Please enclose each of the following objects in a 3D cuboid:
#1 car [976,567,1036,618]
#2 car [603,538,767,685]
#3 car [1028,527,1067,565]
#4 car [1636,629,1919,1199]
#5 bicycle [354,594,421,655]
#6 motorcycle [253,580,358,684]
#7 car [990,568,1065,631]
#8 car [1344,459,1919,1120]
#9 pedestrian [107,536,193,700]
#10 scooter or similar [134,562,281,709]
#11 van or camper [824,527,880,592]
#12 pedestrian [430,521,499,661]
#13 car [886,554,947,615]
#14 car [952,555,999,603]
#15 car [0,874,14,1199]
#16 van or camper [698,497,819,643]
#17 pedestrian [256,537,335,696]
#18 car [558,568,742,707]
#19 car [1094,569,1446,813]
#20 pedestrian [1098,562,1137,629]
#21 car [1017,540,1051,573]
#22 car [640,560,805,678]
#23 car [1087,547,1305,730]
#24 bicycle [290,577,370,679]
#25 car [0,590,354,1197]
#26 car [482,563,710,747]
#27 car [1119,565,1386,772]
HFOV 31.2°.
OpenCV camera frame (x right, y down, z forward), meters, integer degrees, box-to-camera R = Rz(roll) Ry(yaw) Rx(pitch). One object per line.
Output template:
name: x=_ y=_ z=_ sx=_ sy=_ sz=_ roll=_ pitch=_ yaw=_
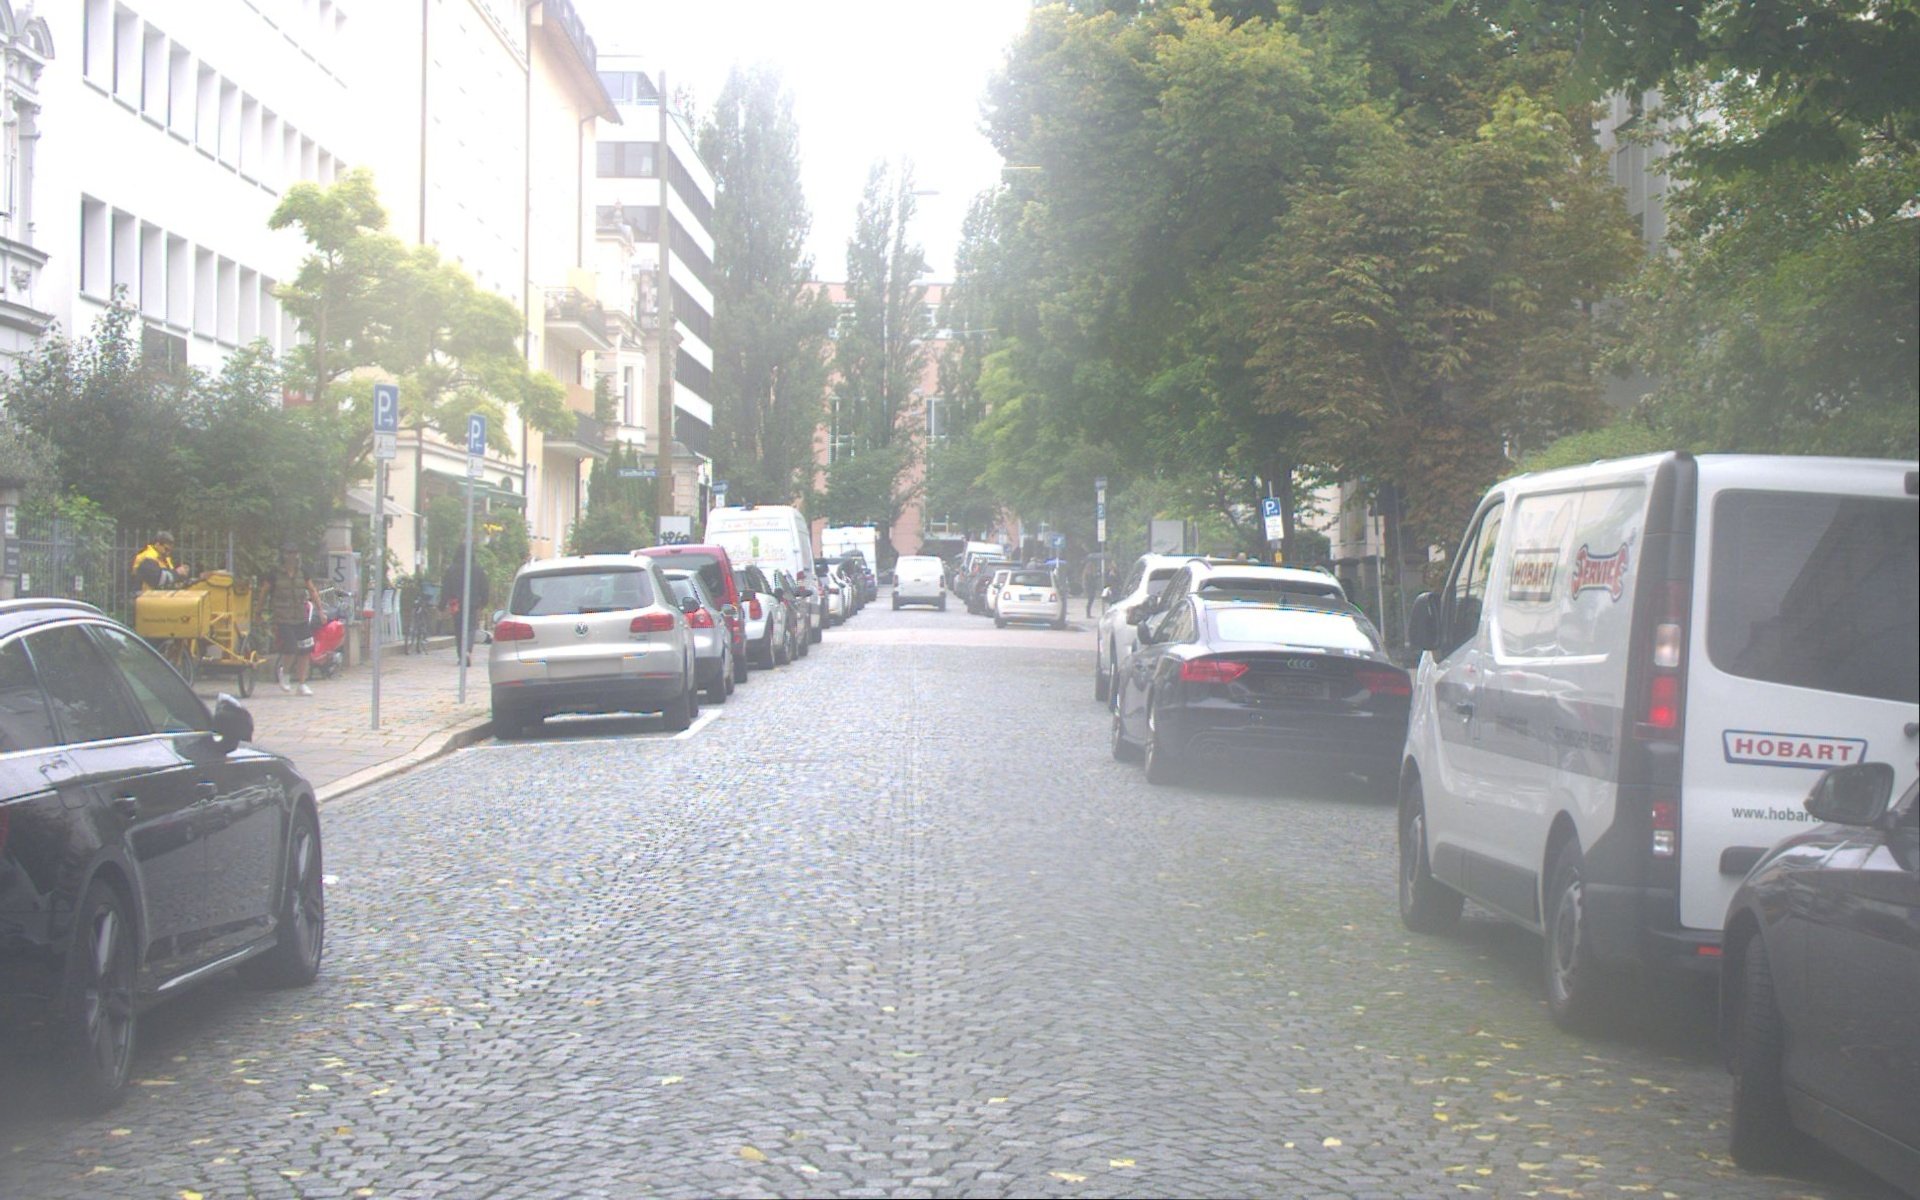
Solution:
car: x=1.413 y=-0.249 z=107.340 sx=1.790 sy=1.515 sz=4.000 roll=1 pitch=1 yaw=0
car: x=-3.593 y=0.127 z=45.484 sx=1.873 sy=1.770 sz=4.123 roll=-3 pitch=1 yaw=-2
car: x=4.819 y=-2.940 z=189.530 sx=1.993 sy=2.007 sz=4.000 roll=1 pitch=0 yaw=0
car: x=2.837 y=0.897 z=7.387 sx=1.837 sy=1.485 sz=4.421 roll=3 pitch=0 yaw=0
bicycle: x=-8.256 y=0.345 z=49.652 sx=0.502 sy=0.836 sz=2.089 roll=1 pitch=1 yaw=3
motorcycle: x=-7.765 y=0.367 z=40.867 sx=0.623 sy=1.192 sz=1.864 roll=1 pitch=0 yaw=8
car: x=1.677 y=-0.024 z=86.646 sx=1.790 sy=1.515 sz=4.000 roll=1 pitch=1 yaw=0
car: x=2.828 y=0.566 z=12.837 sx=1.873 sy=1.922 sz=5.165 roll=3 pitch=0 yaw=-3
pedestrian: x=-8.455 y=0.185 z=35.903 sx=0.717 sy=1.682 sz=0.695 roll=1 pitch=0 yaw=-1
scooter or similar: x=-7.708 y=0.338 z=35.361 sx=0.941 sy=1.437 sz=2.656 roll=1 pitch=1 yaw=-1
van or camper: x=-4.702 y=-1.781 z=150.165 sx=2.256 sy=2.733 sz=5.098 roll=2 pitch=1 yaw=0
pedestrian: x=-6.902 y=-0.134 z=47.892 sx=0.792 sy=1.911 sz=0.759 roll=2 pitch=0 yaw=-1
car: x=-1.455 y=-0.531 z=116.573 sx=1.993 sy=2.007 sz=4.000 roll=1 pitch=1 yaw=0
car: x=0.676 y=-0.916 z=150.571 sx=1.993 sy=2.007 sz=4.000 roll=2 pitch=1 yaw=0
car: x=-3.108 y=0.767 z=5.921 sx=1.783 sy=1.412 sz=4.497 roll=-2 pitch=1 yaw=-2
van or camper: x=-3.804 y=-0.579 z=65.577 sx=1.993 sy=2.643 sz=4.000 roll=-2 pitch=0 yaw=0
pedestrian: x=-7.130 y=0.174 z=36.933 sx=0.693 sy=1.682 sz=0.720 roll=1 pitch=0 yaw=-1
car: x=-3.456 y=0.385 z=38.992 sx=1.873 sy=1.446 sz=4.208 roll=-1 pitch=1 yaw=-3
car: x=2.144 y=0.585 z=25.019 sx=1.873 sy=1.498 sz=4.512 roll=3 pitch=0 yaw=-3
pedestrian: x=4.756 y=-0.150 z=104.075 sx=0.856 sy=2.007 sz=0.991 roll=1 pitch=0 yaw=-18
car: x=4.599 y=-2.688 z=214.087 sx=1.993 sy=2.007 sz=4.000 roll=1 pitch=0 yaw=0
car: x=-3.442 y=0.252 z=50.636 sx=1.873 sy=1.574 sz=4.207 roll=3 pitch=0 yaw=3
car: x=2.461 y=0.365 z=36.917 sx=1.873 sy=1.727 sz=4.593 roll=4 pitch=0 yaw=-1
bicycle: x=-7.898 y=0.335 z=43.032 sx=0.655 sy=1.217 sz=2.090 roll=1 pitch=1 yaw=-19
car: x=-3.218 y=0.740 z=10.489 sx=1.887 sy=1.412 sz=4.407 roll=-2 pitch=1 yaw=0
car: x=-3.419 y=0.470 z=32.944 sx=1.873 sy=1.574 sz=4.256 roll=-2 pitch=1 yaw=-3
car: x=2.501 y=0.543 z=30.355 sx=1.817 sy=1.574 sz=4.208 roll=4 pitch=0 yaw=-1
